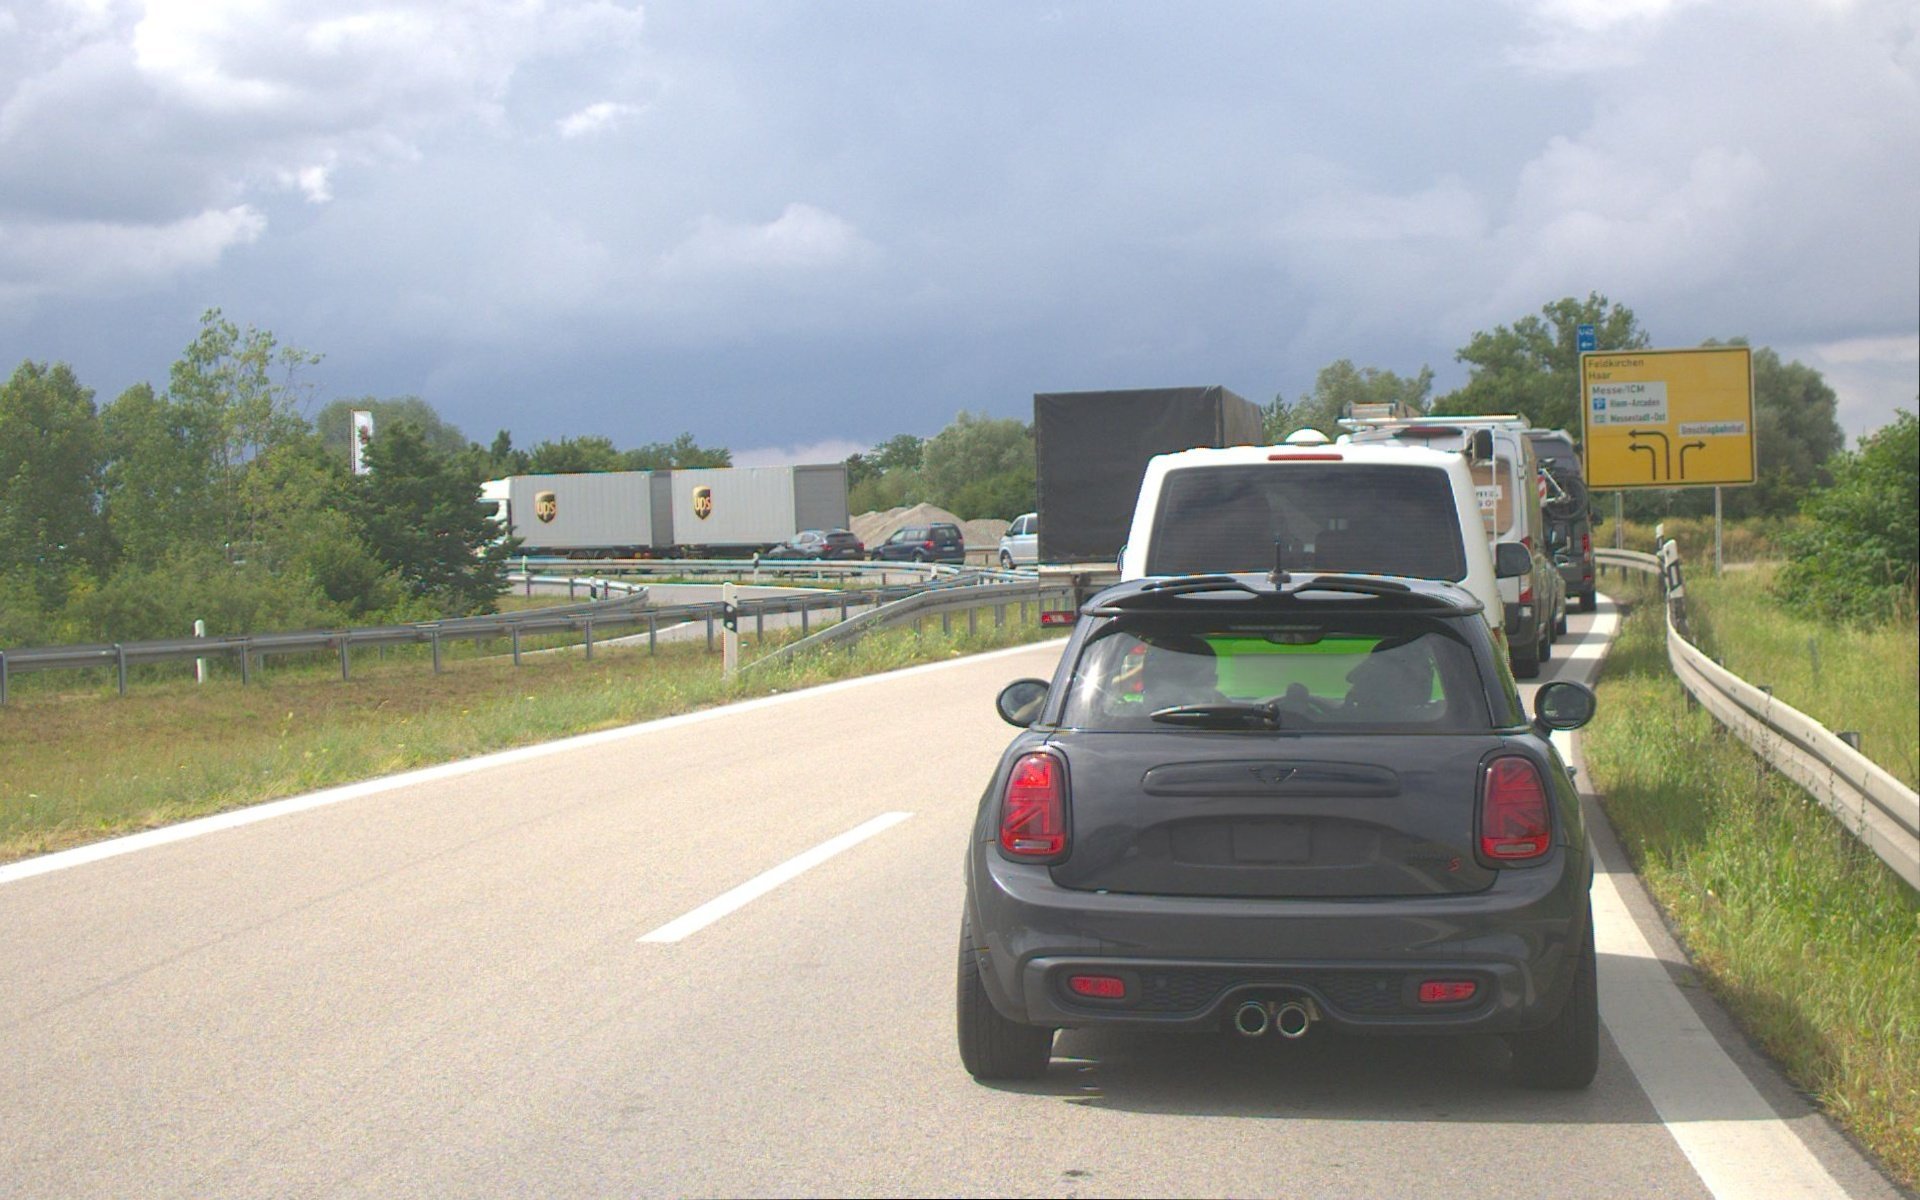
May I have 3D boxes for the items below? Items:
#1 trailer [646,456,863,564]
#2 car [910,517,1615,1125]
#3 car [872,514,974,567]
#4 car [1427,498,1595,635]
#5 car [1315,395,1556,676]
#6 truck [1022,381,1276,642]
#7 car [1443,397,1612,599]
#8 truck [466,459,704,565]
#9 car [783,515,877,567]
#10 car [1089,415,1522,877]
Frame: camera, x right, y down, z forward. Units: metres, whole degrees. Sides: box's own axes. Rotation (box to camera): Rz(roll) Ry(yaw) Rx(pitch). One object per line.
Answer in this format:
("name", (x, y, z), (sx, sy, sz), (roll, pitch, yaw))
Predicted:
("trailer", (-7.723, -3.309, 128.181), (3.038, 3.885, 8.767), (1, 0, -44))
("car", (0.963, 0.533, 10.710), (1.800, 1.541, 3.737), (0, 1, 6))
("car", (-1.338, -2.105, 122.220), (1.921, 1.831, 4.318), (1, 0, -26))
("car", (7.004, -0.413, 43.651), (1.994, 1.636, 3.927), (1, 0, 9))
("car", (4.916, -0.618, 35.032), (2.212, 2.613, 5.532), (1, 0, 9))
("truck", (2.642, -1.096, 45.614), (2.561, 3.157, 7.465), (1, 0, 9))
("car", (9.248, -1.561, 55.587), (2.312, 3.058, 6.658), (1, 0, 12))
("truck", (-14.709, -3.402, 134.352), (10.019, 3.962, 2.839), (1, 0, 37))
("car", (-4.577, -2.047, 120.269), (1.812, 1.750, 4.001), (1, 0, -26))
("car", (1.823, 0.178, 17.365), (1.911, 2.038, 4.180), (0, 1, 8))
